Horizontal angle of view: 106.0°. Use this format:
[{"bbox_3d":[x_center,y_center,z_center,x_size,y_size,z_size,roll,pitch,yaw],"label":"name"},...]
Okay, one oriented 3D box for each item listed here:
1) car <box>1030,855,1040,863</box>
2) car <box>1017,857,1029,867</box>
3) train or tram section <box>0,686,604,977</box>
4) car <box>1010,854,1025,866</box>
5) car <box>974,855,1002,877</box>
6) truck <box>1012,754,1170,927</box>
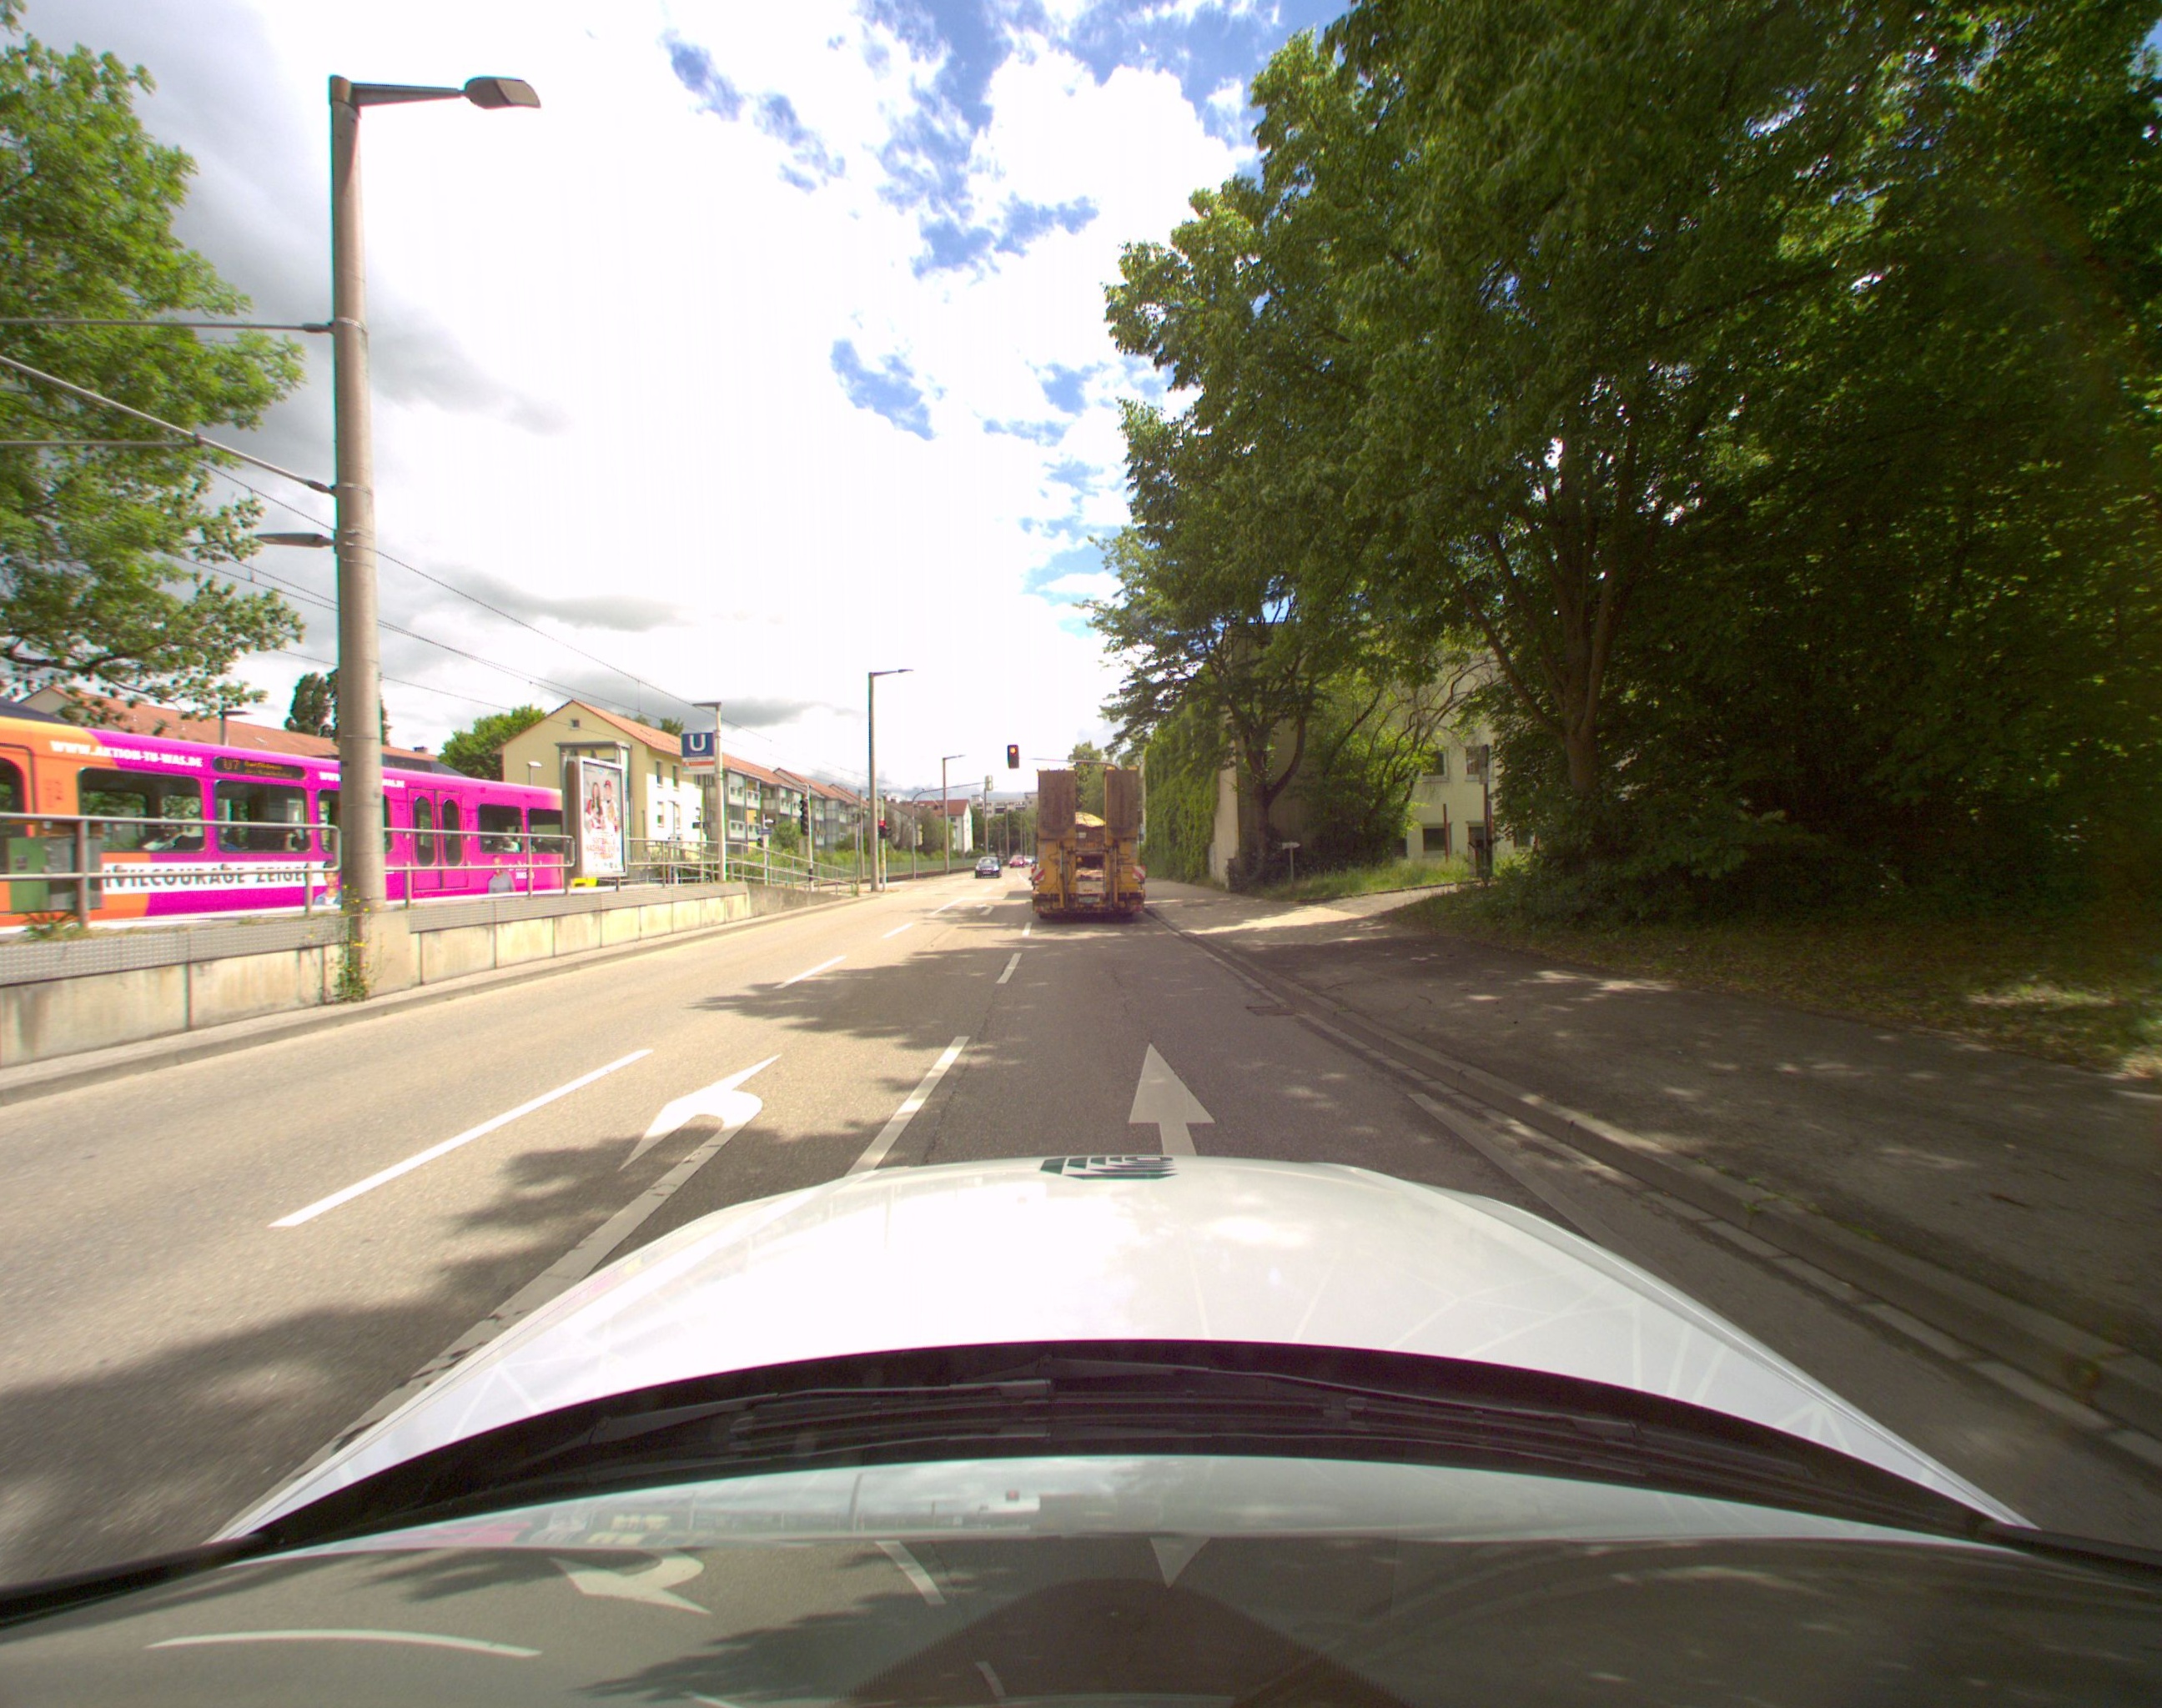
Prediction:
[{"bbox_3d":[-8.401,0.907,149.448,1.663,1.453,3.676,0,-1,-2],"label":"car"},{"bbox_3d":[-8.457,1.116,119.065,1.663,1.453,3.676,0,-1,-2],"label":"car"},{"bbox_3d":[-14.533,-0.265,13.129,3.100,3.464,19.073,0,0,-2],"label":"train or tram section"},{"bbox_3d":[-8.055,0.792,103.689,1.663,1.453,3.676,0,-1,-2],"label":"car"},{"bbox_3d":[-6.474,0.820,56.955,1.663,1.453,3.676,0,-1,-2],"label":"car"},{"bbox_3d":[-0.277,-0.324,24.840,3.396,3.732,13.716,-2,0,-4],"label":"truck"}]
